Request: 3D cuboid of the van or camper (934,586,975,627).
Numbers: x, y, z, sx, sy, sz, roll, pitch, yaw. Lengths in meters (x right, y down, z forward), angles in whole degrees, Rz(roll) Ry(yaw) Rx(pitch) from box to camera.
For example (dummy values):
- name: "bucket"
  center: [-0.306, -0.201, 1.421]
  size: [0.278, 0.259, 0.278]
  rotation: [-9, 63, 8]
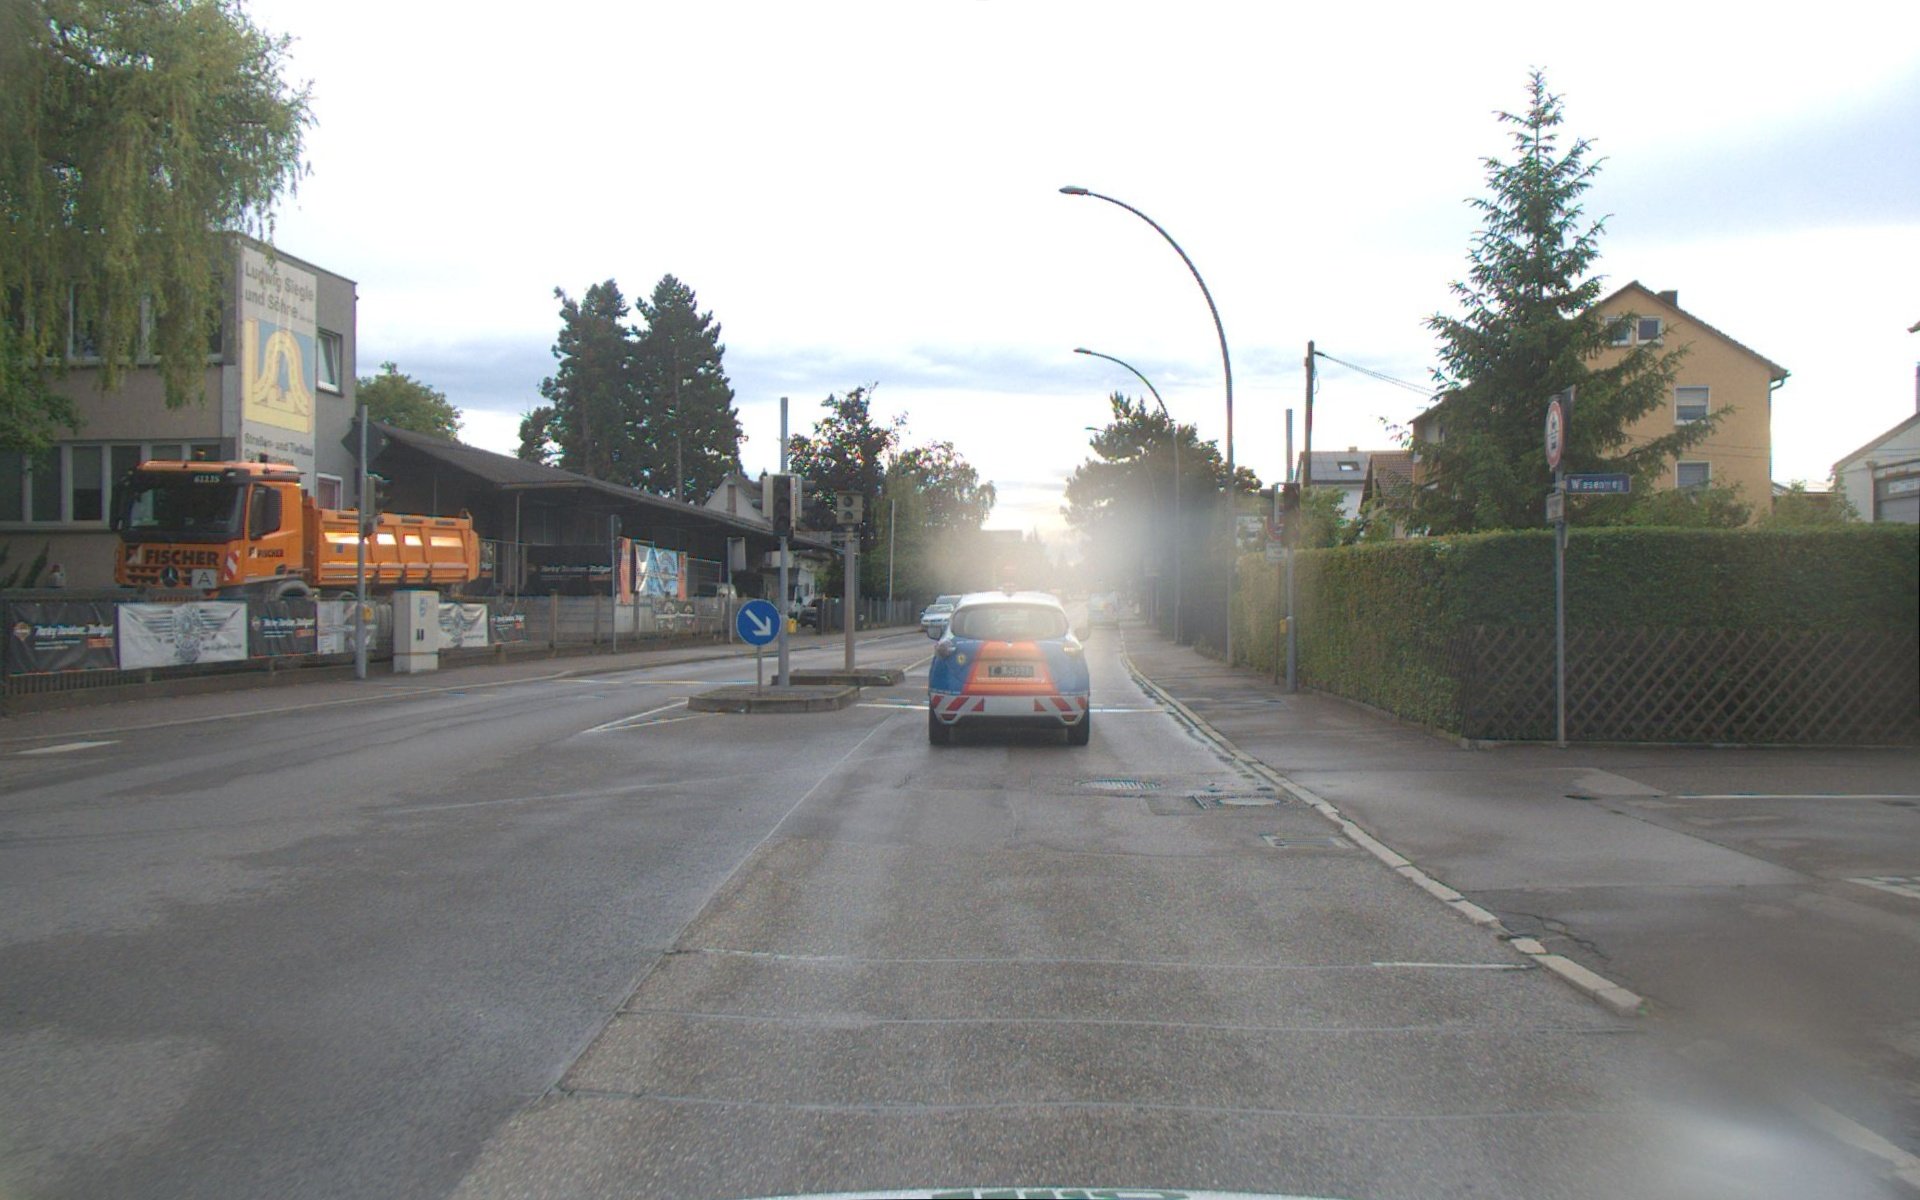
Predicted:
- name: "van or camper"
  center: [-0.278, 0.391, 93.326]
  size: [1.851, 2.049, 5.099]
  rotation: [2, -2, 5]

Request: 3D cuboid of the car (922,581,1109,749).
- name: "car"
  center: [0.657, 0.643, 18.412]
  size: [1.849, 1.660, 4.002]
  rotation: [0, 0, 3]

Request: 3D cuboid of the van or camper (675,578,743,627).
- name: "van or camper"
  center: [-10.788, 0.123, 71.352]
  size: [1.952, 1.942, 4.473]
  rotation: [2, 0, 3]

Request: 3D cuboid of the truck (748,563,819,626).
- name: "truck"
  center: [-8.904, -0.213, 83.863]
  size: [2.344, 2.978, 5.960]
  rotation: [2, -1, 5]

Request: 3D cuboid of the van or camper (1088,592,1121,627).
- name: "van or camper"
  center: [7.910, 0.518, 90.917]
  size: [1.717, 1.916, 4.002]
  rotation: [0, 0, 4]

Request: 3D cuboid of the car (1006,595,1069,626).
- name: "car"
  center: [3.717, 0.481, 79.911]
  size: [1.960, 1.445, 3.985]
  rotation: [0, 0, -14]

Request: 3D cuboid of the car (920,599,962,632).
- name: "car"
  center: [-0.959, 0.832, 86.503]
  size: [1.705, 1.506, 4.186]
  rotation: [-2, -2, 6]

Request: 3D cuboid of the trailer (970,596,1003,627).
- name: "trailer"
  center: [1.951, 0.846, 120.023]
  size: [2.174, 2.049, 4.437]
  rotation: [2, -2, 3]

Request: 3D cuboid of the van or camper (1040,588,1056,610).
- name: "van or camper"
  center: [11.462, -0.171, 214.692]
  size: [1.951, 2.823, 5.443]
  rotation: [0, 0, 4]

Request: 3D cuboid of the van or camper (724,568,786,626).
- name: "van or camper"
  center: [-9.629, -0.101, 78.175]
  size: [1.820, 2.480, 5.235]
  rotation: [3, -2, 4]

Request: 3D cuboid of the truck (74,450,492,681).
- name: "truck"
  center: [-11.673, -0.366, 29.884]
  size: [2.640, 3.471, 9.077]
  rotation: [2, -2, 8]
